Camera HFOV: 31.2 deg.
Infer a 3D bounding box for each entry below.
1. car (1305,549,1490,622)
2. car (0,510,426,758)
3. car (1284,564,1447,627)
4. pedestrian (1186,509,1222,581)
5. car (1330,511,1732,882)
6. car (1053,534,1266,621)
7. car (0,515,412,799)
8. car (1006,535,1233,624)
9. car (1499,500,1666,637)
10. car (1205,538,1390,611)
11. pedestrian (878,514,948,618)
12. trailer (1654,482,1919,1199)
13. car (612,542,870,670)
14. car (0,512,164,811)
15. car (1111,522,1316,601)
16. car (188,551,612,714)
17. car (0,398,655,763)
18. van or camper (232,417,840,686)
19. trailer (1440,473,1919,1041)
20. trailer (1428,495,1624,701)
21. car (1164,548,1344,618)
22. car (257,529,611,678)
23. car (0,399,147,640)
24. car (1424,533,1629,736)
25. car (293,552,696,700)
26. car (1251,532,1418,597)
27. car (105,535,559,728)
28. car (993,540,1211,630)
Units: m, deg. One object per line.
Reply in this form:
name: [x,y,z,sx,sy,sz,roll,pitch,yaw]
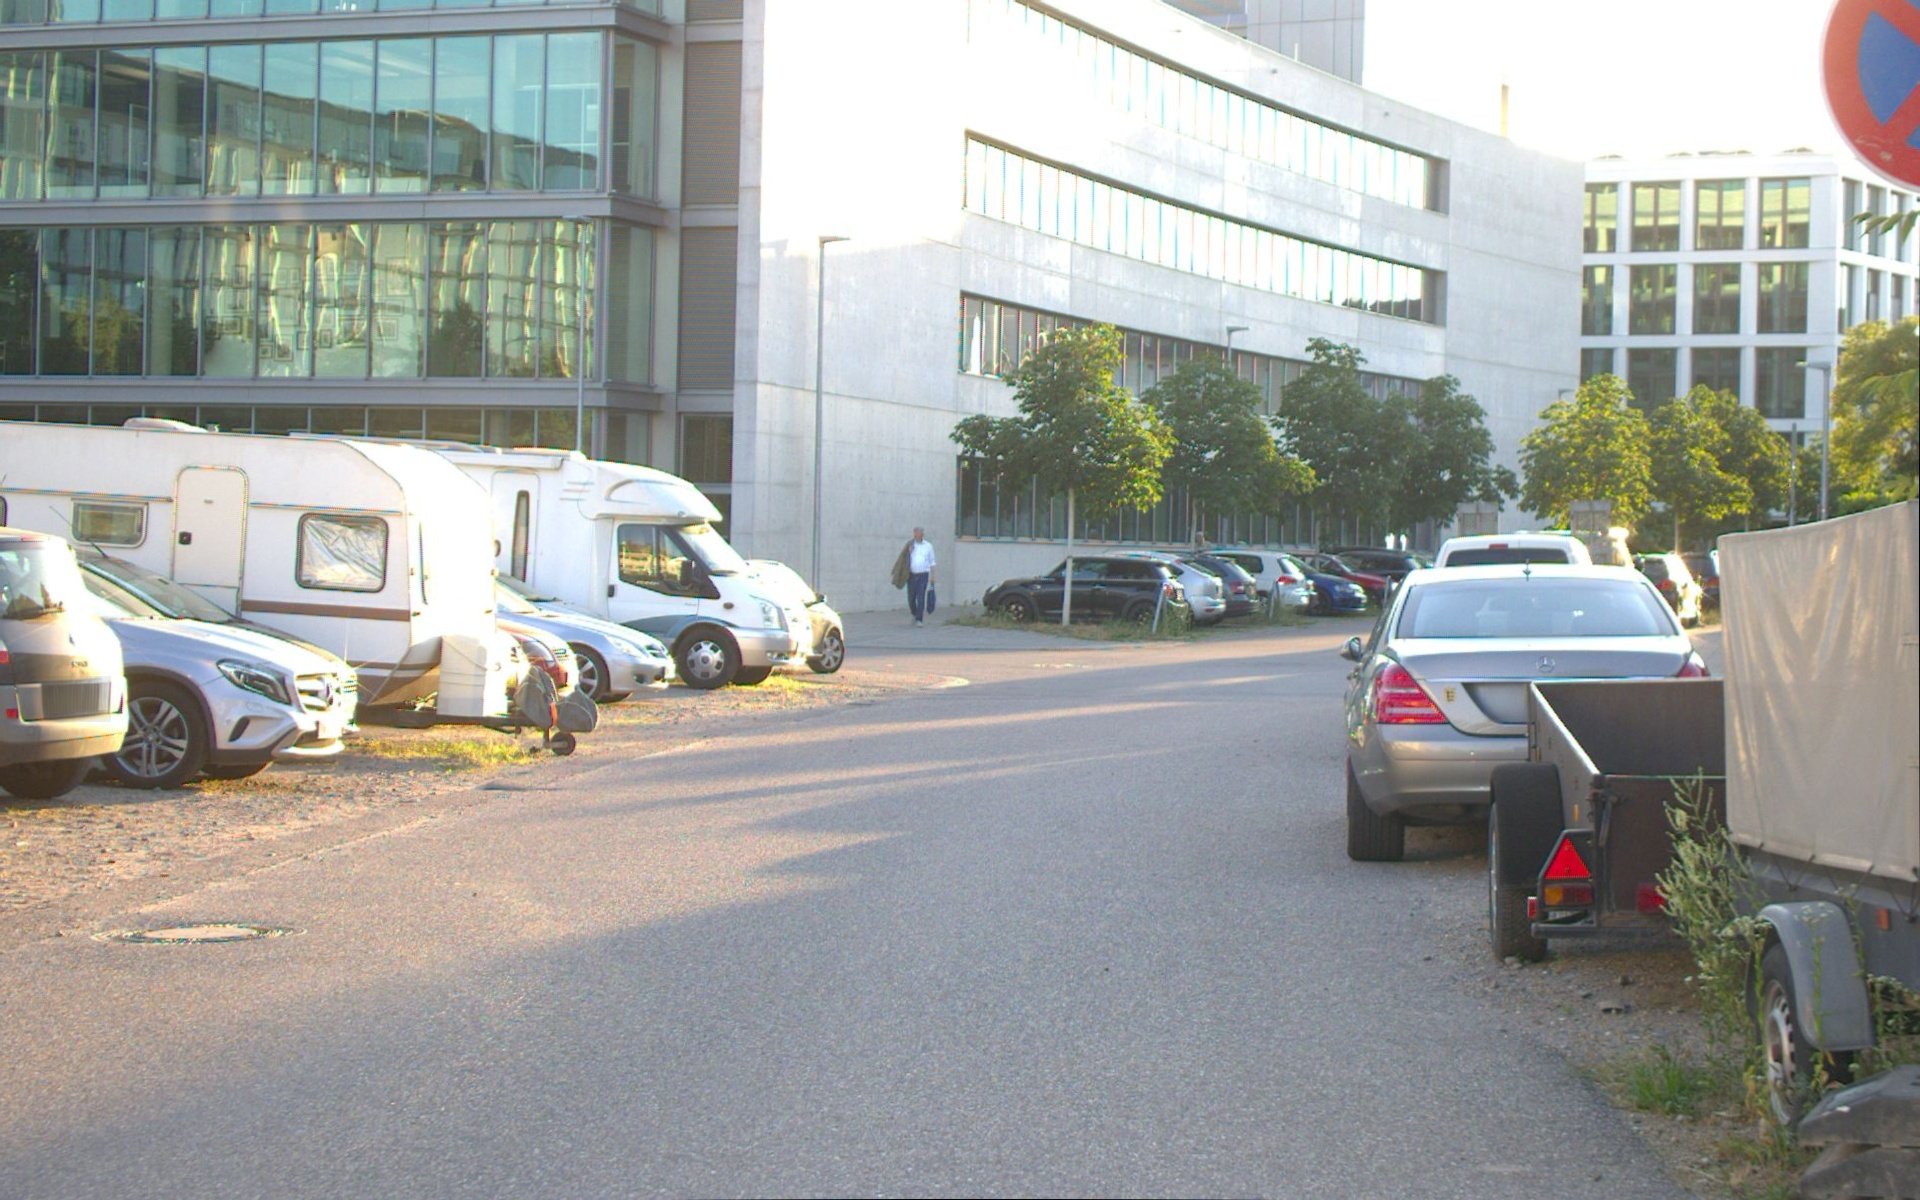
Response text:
car: [11.243,-0.374,88.435,4.314,1.690,1.894,2,1,23]
car: [-6.201,0.187,25.166,4.127,1.585,1.747,3,0,7]
car: [10.198,-0.119,86.491,3.707,1.452,1.677,2,1,23]
pedestrian: [6.139,-1.387,86.346,0.646,1.778,0.724,3,1,21]
car: [2.923,0.419,18.473,1.806,1.719,4.927,-1,1,6]
car: [4.035,-0.466,69.334,4.000,1.507,1.584,3,3,14]
car: [-5.866,0.283,22.329,4.128,1.585,1.747,4,1,13]
car: [3.132,-0.413,67.248,4.089,1.523,1.845,3,2,14]
car: [10.089,-0.535,55.460,2.067,2.087,4.868,1,1,17]
car: [7.784,-0.603,79.222,3.874,1.506,1.758,3,2,21]
pedestrian: [-0.852,-0.615,61.894,0.899,1.844,0.856,0,2,-38]
trailer: [2.740,0.541,9.061,1.250,1.659,2.803,0,1,0]
car: [-2.790,0.074,44.813,1.688,1.514,4.356,3,1,20]
car: [-6.774,0.246,19.634,3.928,1.585,1.747,2,1,13]
car: [5.444,-0.839,73.716,3.991,1.506,1.758,3,2,21]
car: [-5.435,0.294,33.604,3.726,1.362,1.705,3,1,6]
car: [-5.669,-0.233,27.475,5.891,2.525,2.411,3,2,11]
van or camper: [-5.043,-0.603,41.265,6.743,2.887,2.408,2,1,10]
trailer: [2.828,0.453,13.205,1.731,1.771,4.936,0,1,6]
trailer: [6.564,-0.070,39.800,2.065,2.204,5.221,1,1,10]
car: [6.473,-0.389,75.496,3.636,1.357,1.685,3,2,16]
car: [-5.901,0.020,38.814,3.605,1.471,1.693,3,1,4]
car: [-12.895,-1.050,40.070,6.246,2.664,2.221,3,1,15]
car: [5.588,0.270,33.562,1.772,1.825,4.406,1,1,12]
car: [-4.833,0.251,35.928,3.809,1.324,1.692,3,1,8]
car: [9.165,-0.857,84.079,3.706,1.452,1.709,2,1,22]
car: [-5.594,0.258,30.872,3.629,1.514,1.705,3,1,6]
car: [2.676,-0.295,64.400,3.737,1.477,1.768,3,2,15]
